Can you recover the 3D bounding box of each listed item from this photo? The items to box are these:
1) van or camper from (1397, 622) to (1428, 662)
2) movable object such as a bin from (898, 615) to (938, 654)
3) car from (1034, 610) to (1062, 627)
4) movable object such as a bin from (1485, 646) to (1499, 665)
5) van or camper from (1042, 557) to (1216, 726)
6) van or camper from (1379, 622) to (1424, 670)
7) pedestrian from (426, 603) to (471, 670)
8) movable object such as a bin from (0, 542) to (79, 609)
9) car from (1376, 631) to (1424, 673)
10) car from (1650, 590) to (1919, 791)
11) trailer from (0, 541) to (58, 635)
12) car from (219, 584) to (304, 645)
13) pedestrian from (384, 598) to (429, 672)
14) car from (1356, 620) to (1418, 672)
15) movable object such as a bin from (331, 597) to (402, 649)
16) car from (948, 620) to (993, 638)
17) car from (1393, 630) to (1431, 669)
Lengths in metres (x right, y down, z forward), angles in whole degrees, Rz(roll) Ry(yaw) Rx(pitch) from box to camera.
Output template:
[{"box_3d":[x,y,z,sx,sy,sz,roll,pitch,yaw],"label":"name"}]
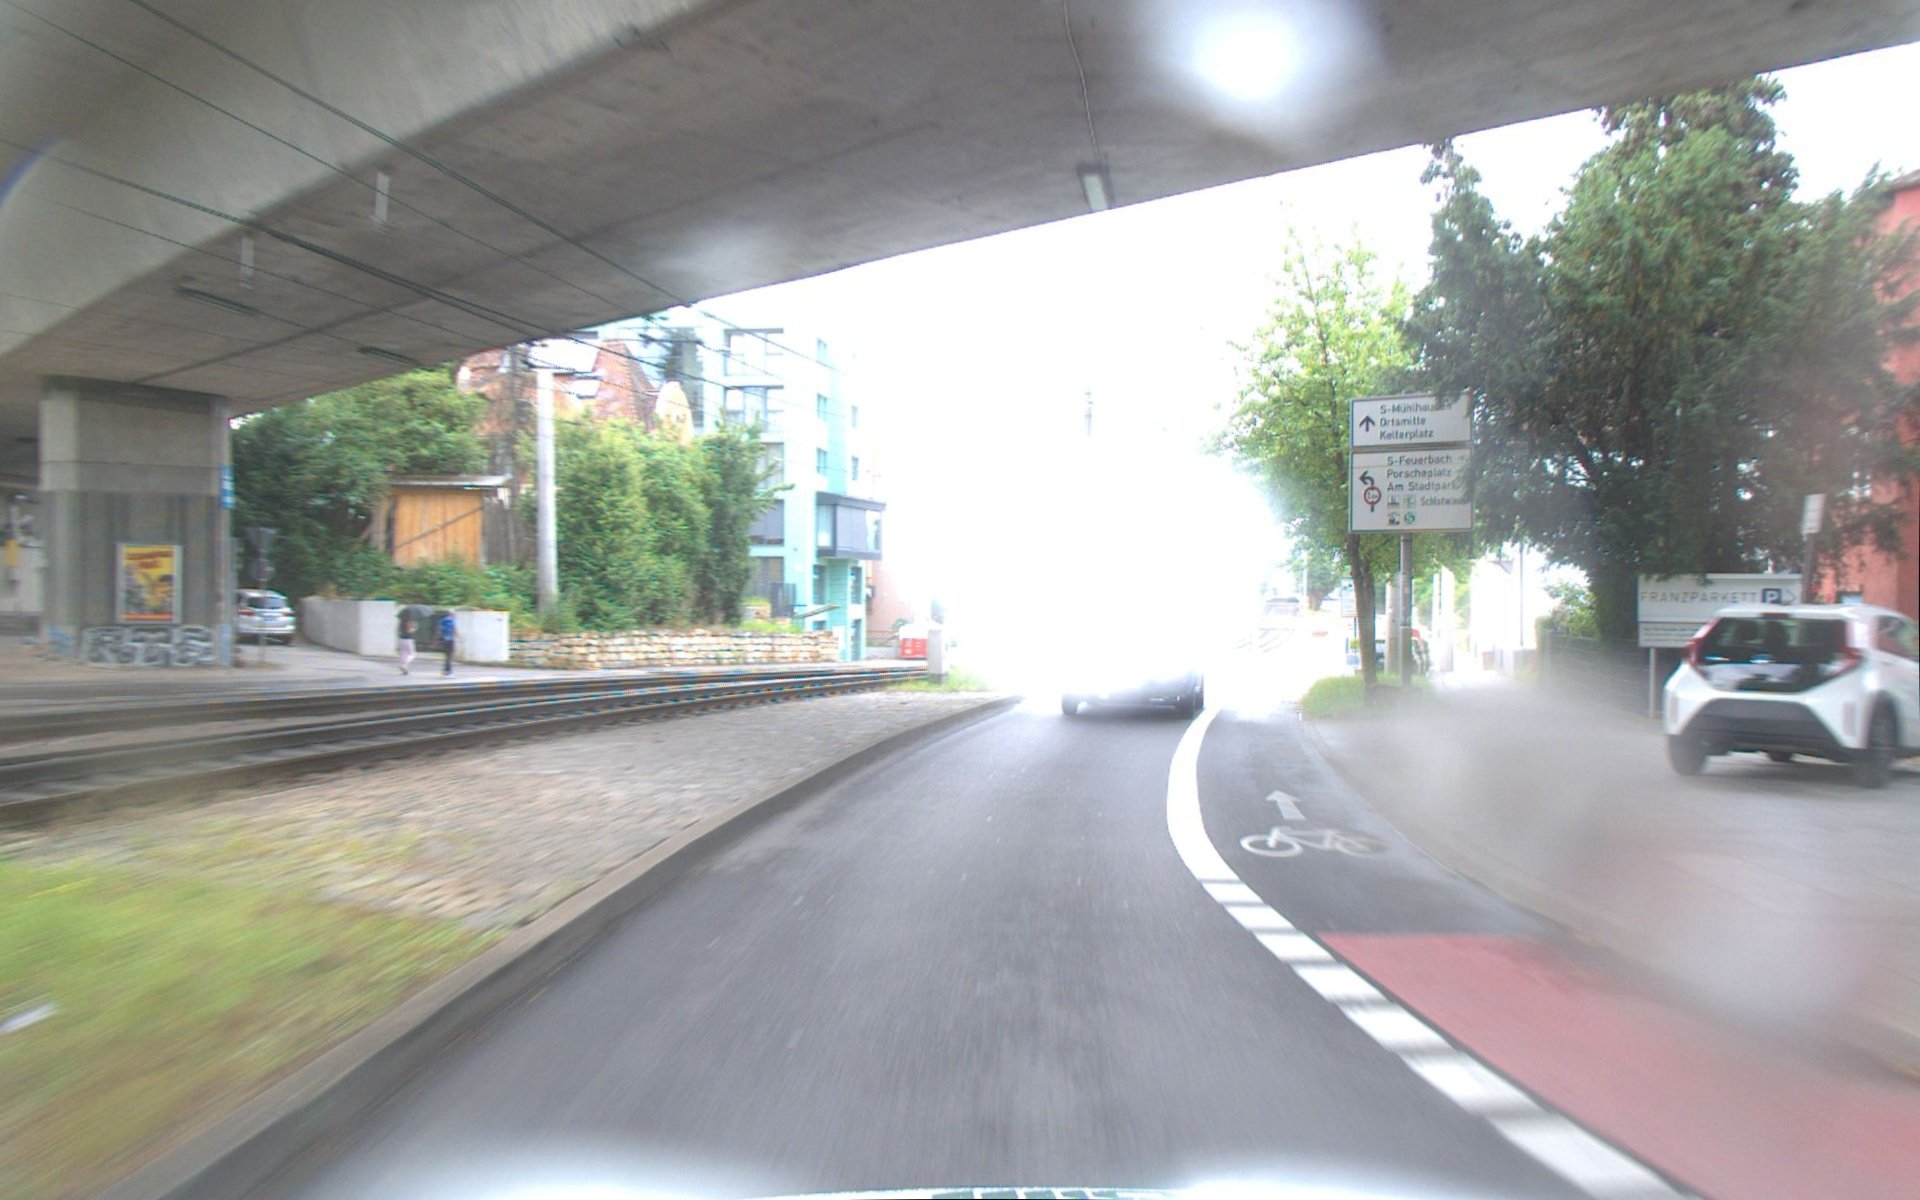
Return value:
[{"box_3d":[31.980,2.956,117.044,1.951,2.608,6.047,2,0,15],"label":"van or camper"},{"box_3d":[-2.529,2.091,100.220,2.088,2.194,1.803,3,0,6],"label":"movable object such as a bin"},{"box_3d":[8.565,1.805,160.836,1.951,1.467,4.003,2,-1,13],"label":"car"},{"box_3d":[25.055,2.621,77.920,0.574,0.895,0.448,0,-2,14],"label":"movable object such as a bin"},{"box_3d":[2.732,0.634,25.658,2.152,2.292,4.687,2,-1,11],"label":"van or camper"},{"box_3d":[18.927,1.972,70.815,1.812,1.954,4.997,0,-2,15],"label":"van or camper"},{"box_3d":[-13.263,0.939,42.912,0.679,1.699,0.888,1,0,18],"label":"pedestrian"},{"box_3d":[-37.439,-0.963,64.373,2.571,2.496,5.466,2,0,13],"label":"movable object such as a bin"},{"box_3d":[16.045,1.905,60.186,1.544,1.477,3.721,0,-3,17],"label":"car"},{"box_3d":[7.798,0.730,14.859,1.772,1.548,3.711,1,0,43],"label":"car"},{"box_3d":[-29.326,-0.370,50.705,1.983,2.773,4.060,2,-1,-42],"label":"trailer"},{"box_3d":[-22.049,0.448,52.179,1.701,1.696,3.157,3,0,-37],"label":"car"},{"box_3d":[-14.349,0.901,42.887,0.679,1.863,0.867,1,0,15],"label":"pedestrian"},{"box_3d":[12.833,1.376,49.548,1.641,1.448,4.567,1,-1,16],"label":"car"},{"box_3d":[-18.634,0.724,51.925,1.547,1.505,1.777,2,1,-40],"label":"movable object such as a bin"},{"box_3d":[0.905,2.506,142.628,3.696,1.479,1.548,1,0,-11],"label":"car"},{"box_3d":[23.420,2.556,85.828,1.800,1.832,4.689,3,-1,15],"label":"car"}]
